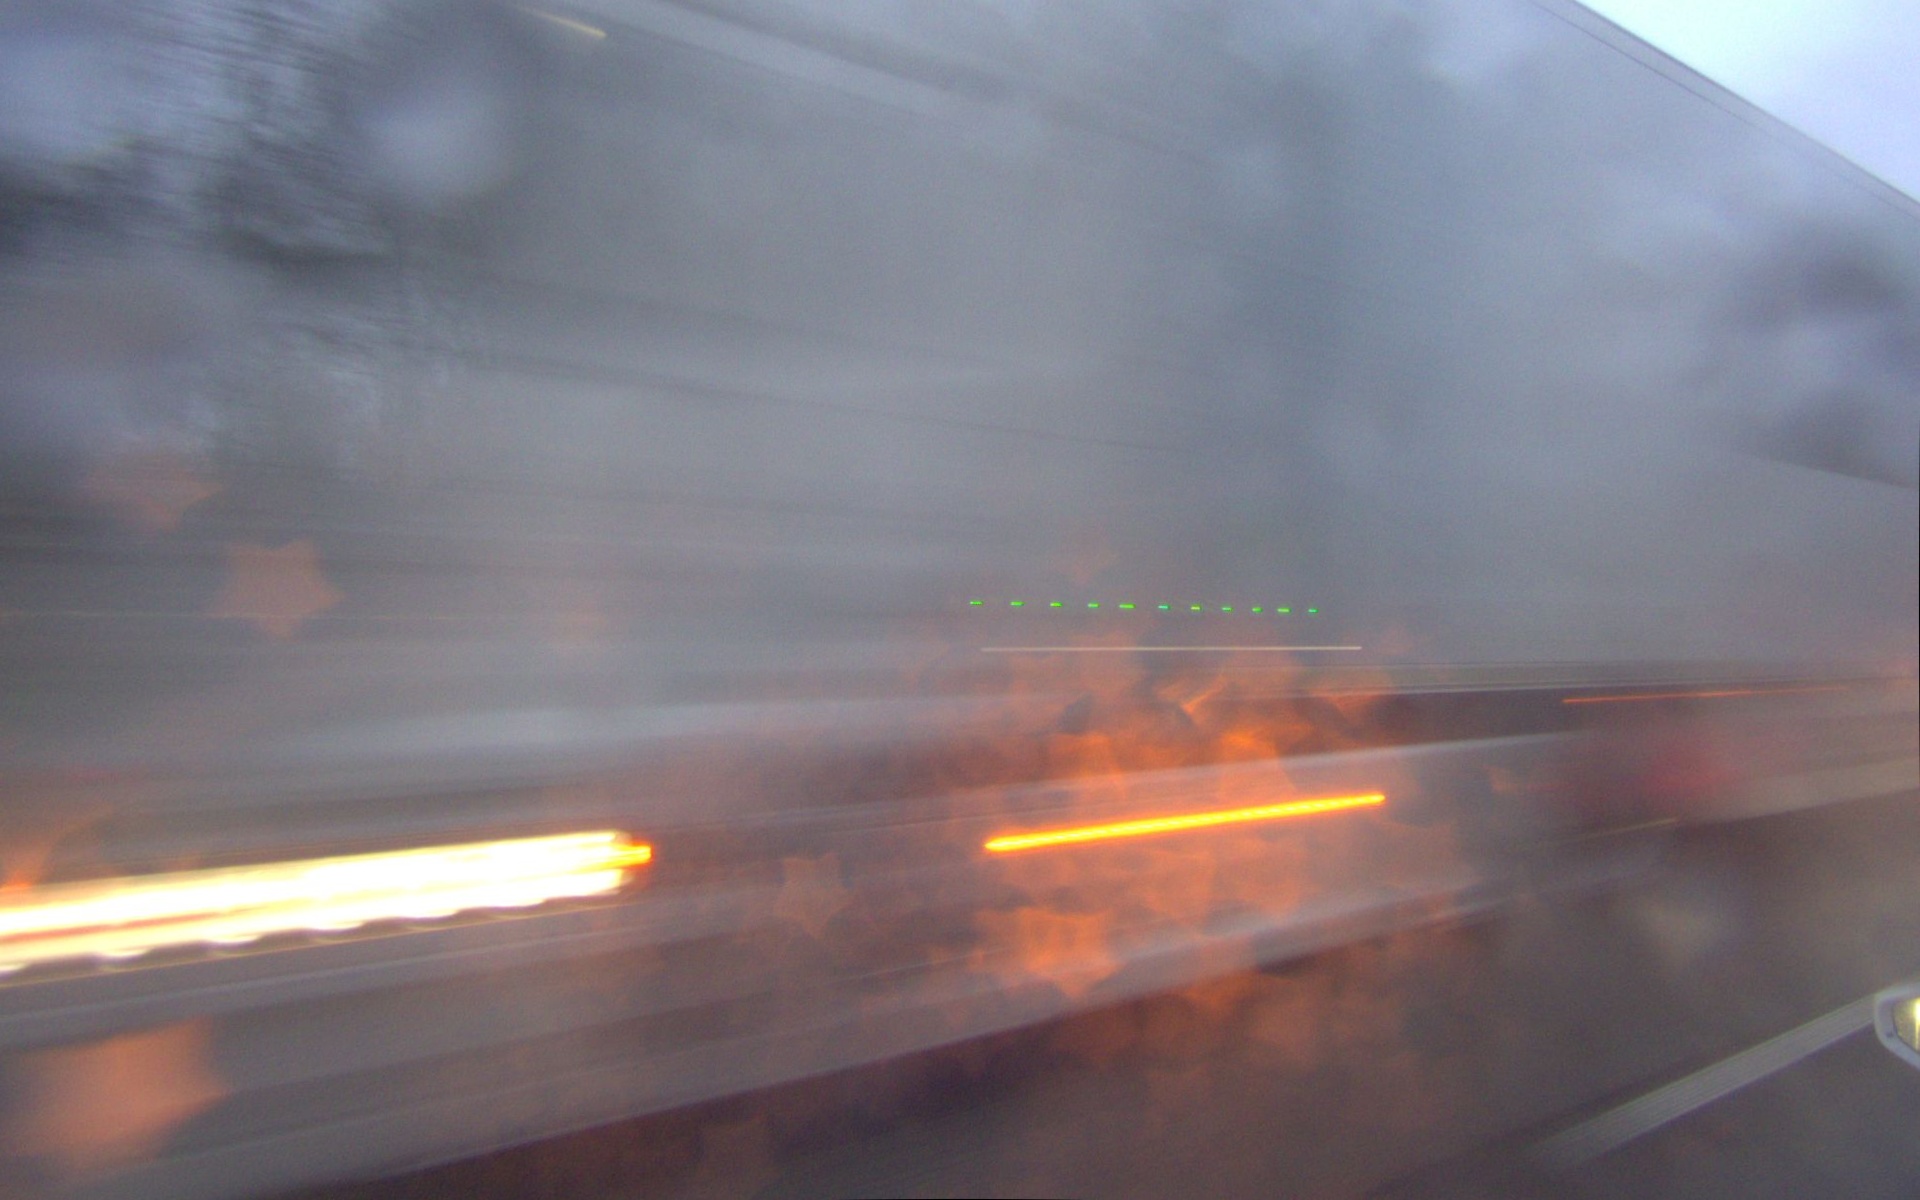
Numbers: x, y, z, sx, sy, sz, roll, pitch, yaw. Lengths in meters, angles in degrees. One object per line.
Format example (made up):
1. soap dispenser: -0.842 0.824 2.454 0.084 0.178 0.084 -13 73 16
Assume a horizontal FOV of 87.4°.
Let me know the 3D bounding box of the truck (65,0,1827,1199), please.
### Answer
1. truck: 0.844 -0.589 4.792 7.113 4.181 2.787 1 -1 -30

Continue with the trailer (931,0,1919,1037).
1. trailer: 6.286 -0.494 7.931 13.356 4.143 2.766 1 -1 -30
